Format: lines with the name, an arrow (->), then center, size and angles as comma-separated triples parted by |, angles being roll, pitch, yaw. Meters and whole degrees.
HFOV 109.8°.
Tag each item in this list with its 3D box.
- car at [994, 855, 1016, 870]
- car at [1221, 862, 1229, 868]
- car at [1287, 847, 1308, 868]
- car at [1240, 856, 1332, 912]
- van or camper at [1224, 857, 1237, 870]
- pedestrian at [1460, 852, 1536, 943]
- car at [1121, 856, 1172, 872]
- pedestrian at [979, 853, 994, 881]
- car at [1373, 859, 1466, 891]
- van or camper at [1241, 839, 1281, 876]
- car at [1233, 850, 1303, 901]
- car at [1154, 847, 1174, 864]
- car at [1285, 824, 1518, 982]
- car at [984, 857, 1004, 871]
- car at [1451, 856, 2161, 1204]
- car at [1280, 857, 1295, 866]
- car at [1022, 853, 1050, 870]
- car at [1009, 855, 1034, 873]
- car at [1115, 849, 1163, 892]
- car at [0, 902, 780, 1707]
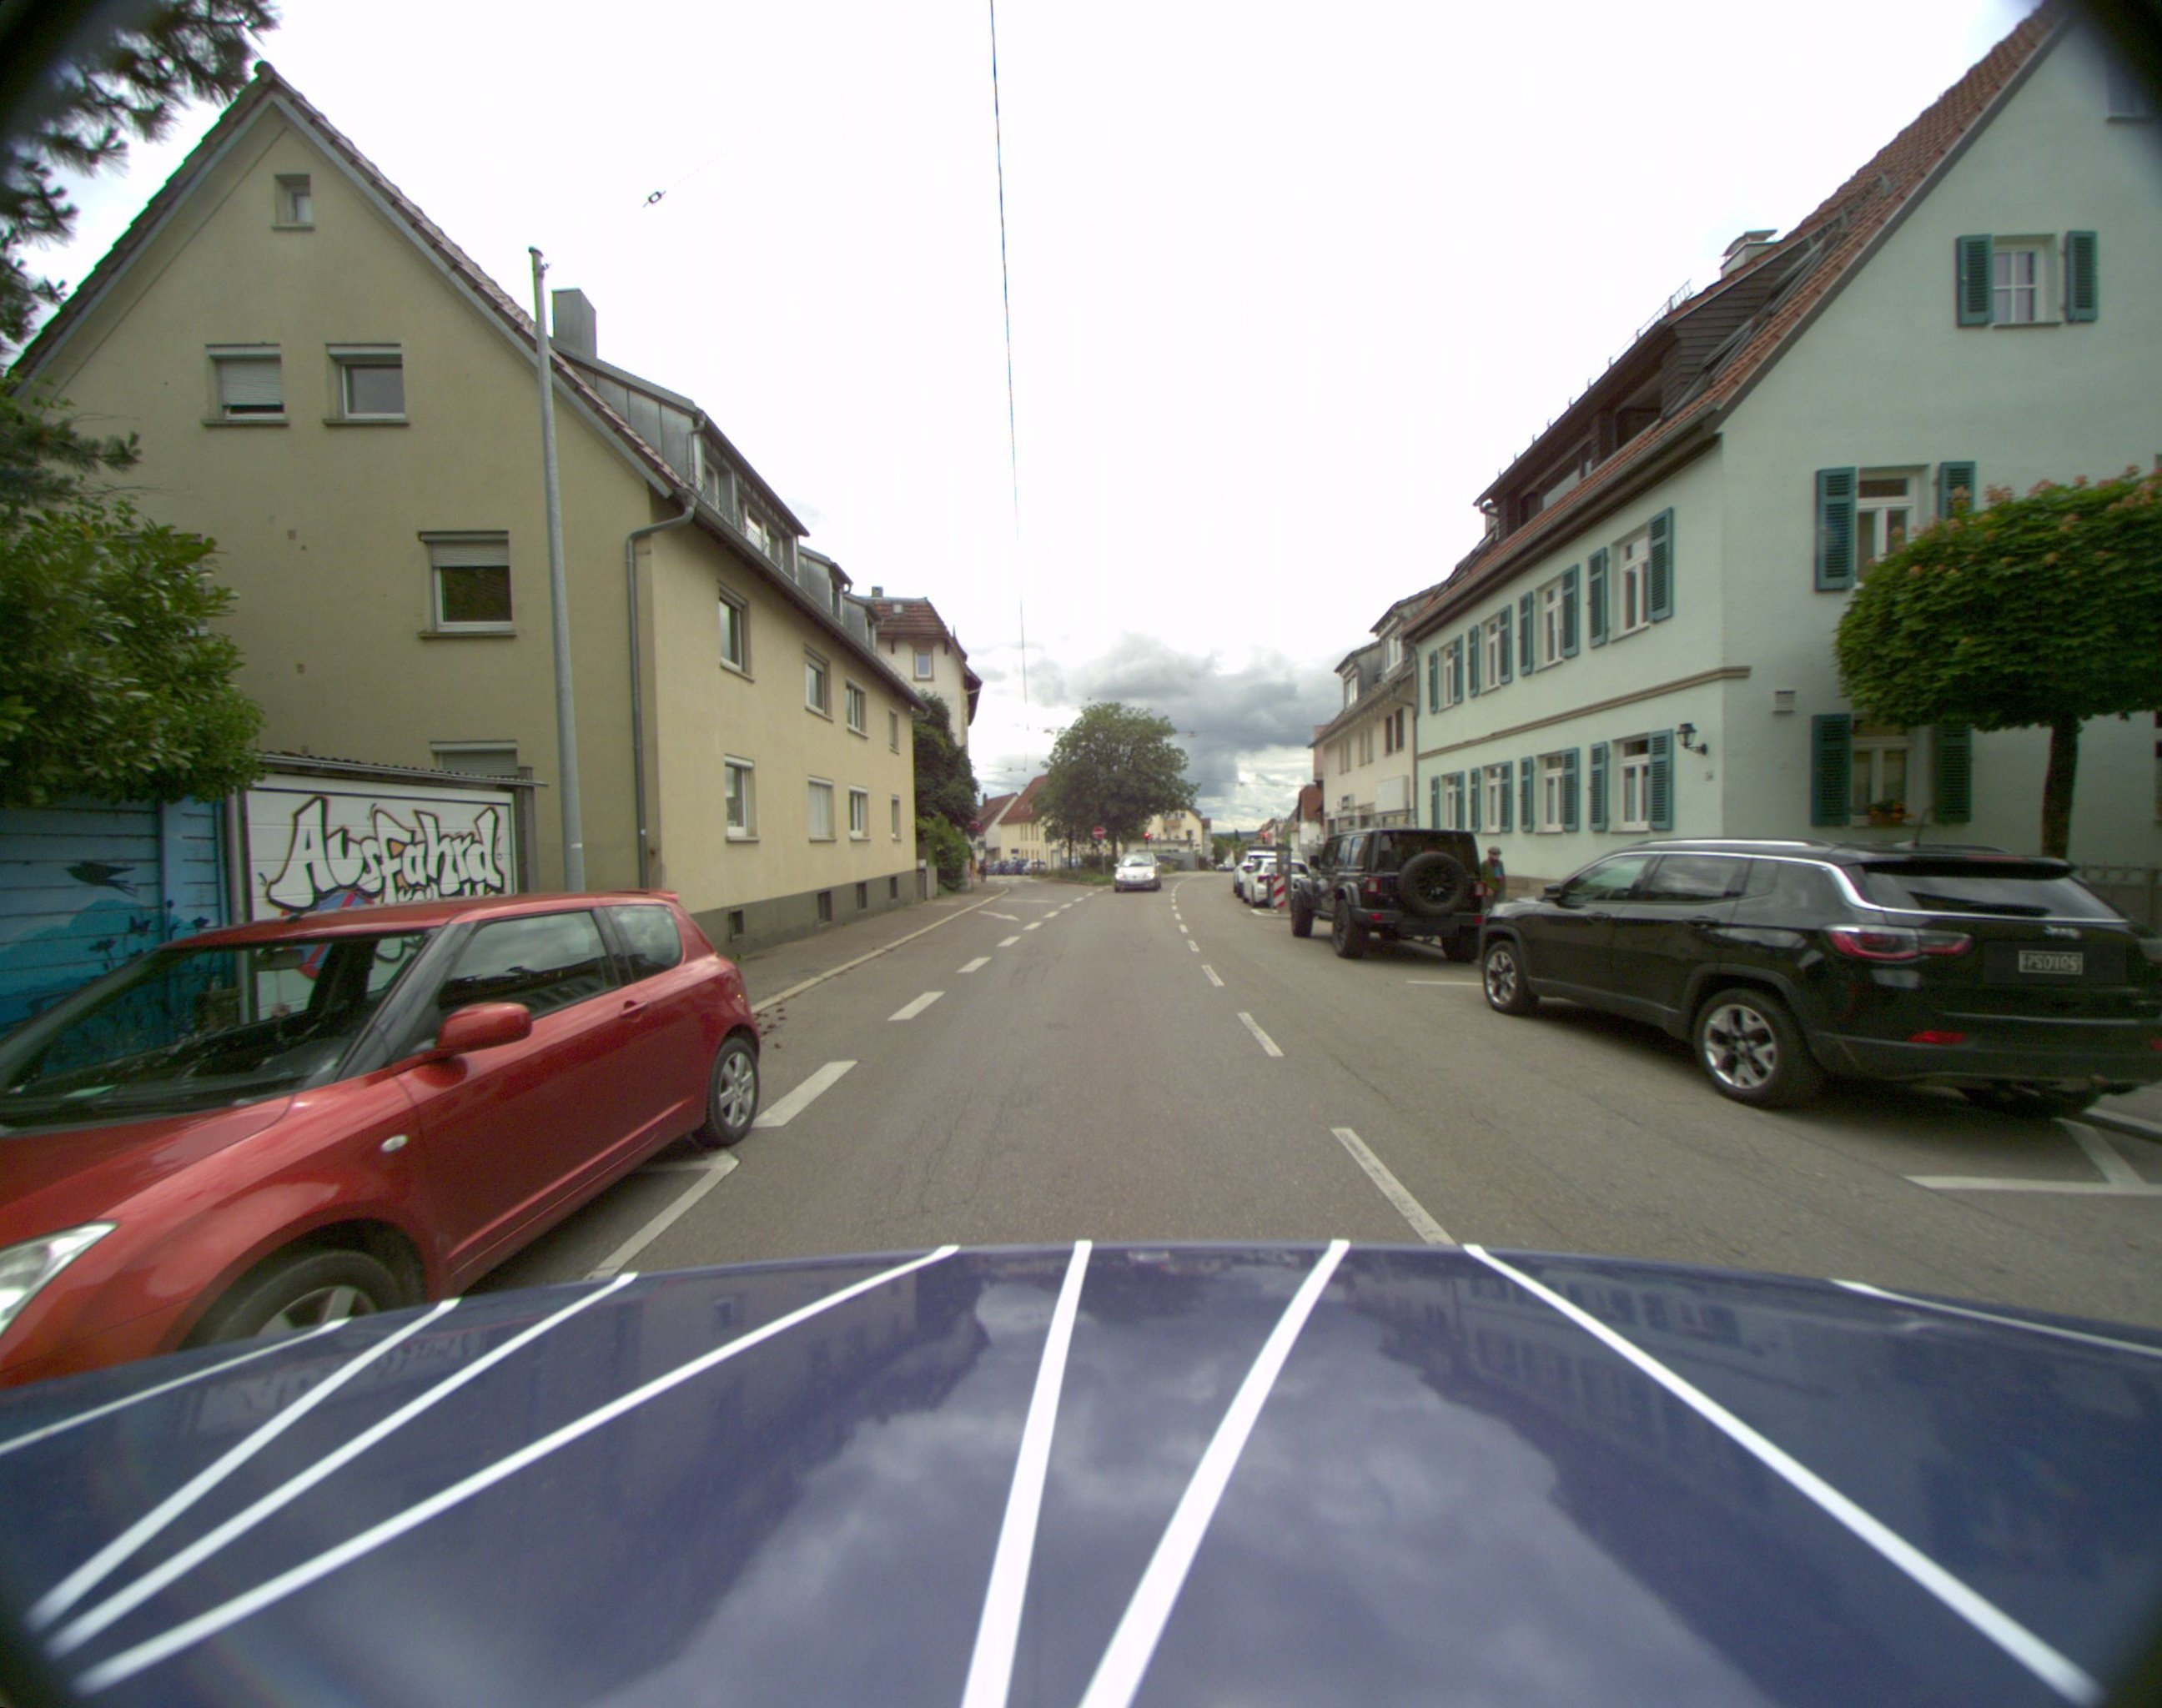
car -> -9.329, 1.070, 93.006 | 1.724, 1.720, 3.995 | -2, -1, -19
car -> 33.572, 2.533, 176.945 | 1.612, 1.446, 3.863 | -2, -1, 9
car -> 22.441, 0.382, 78.738 | 1.814, 1.994, 4.770 | 1, 0, 19
car -> 5.854, 0.811, 22.153 | 2.002, 1.428, 3.920 | -2, 0, 7
van or camper -> 26.000, 1.679, 132.478 | 1.997, 2.001, 5.068 | -3, -1, 9
pedestrian -> 7.299, 0.735, 13.348 | 0.807, 1.491, 0.976 | -3, 1, 6
car -> 6.105, 0.932, 71.358 | 4.566, 1.436, 2.000 | 1, 0, -2
pedestrian -> -6.190, 0.850, 49.653 | 0.861, 1.722, 1.021 | -2, -1, -11
car -> 16.424, 0.984, 37.023 | 3.991, 1.466, 1.745 | 0, 1, 18
van or camper -> 10.999, 0.155, 46.168 | 2.076, 1.994, 4.862 | 1, 2, 16
car -> 6.687, 0.710, 27.633 | 2.001, 1.623, 4.861 | -2, 0, 9
car -> 8.756, 0.195, 79.761 | 1.749, 1.729, 4.576 | 1, -1, 10
car -> 4.797, 0.627, 12.251 | 1.998, 2.002, 4.671 | 2, 0, 4
car -> -11.271, 1.326, 98.521 | 1.724, 1.720, 3.995 | -2, -1, -19
car -> 4.867, 0.854, 5.802 | 1.901, 1.609, 4.525 | 1, -1, 1
car -> 32.545, 1.165, 120.052 | 1.840, 1.436, 4.472 | 1, -1, 10
car -> -4.758, 0.836, 80.121 | 1.777, 1.608, 3.994 | -2, -1, -20
car -> -6.803, 1.187, 86.289 | 1.777, 1.931, 4.318 | 1, -2, -20
car -> 2.331, 0.664, 31.394 | 1.721, 1.586, 4.001 | -2, -1, 1
car -> -2.856, 1.089, 2.836 | 1.763, 1.443, 4.000 | -3, 1, 0
